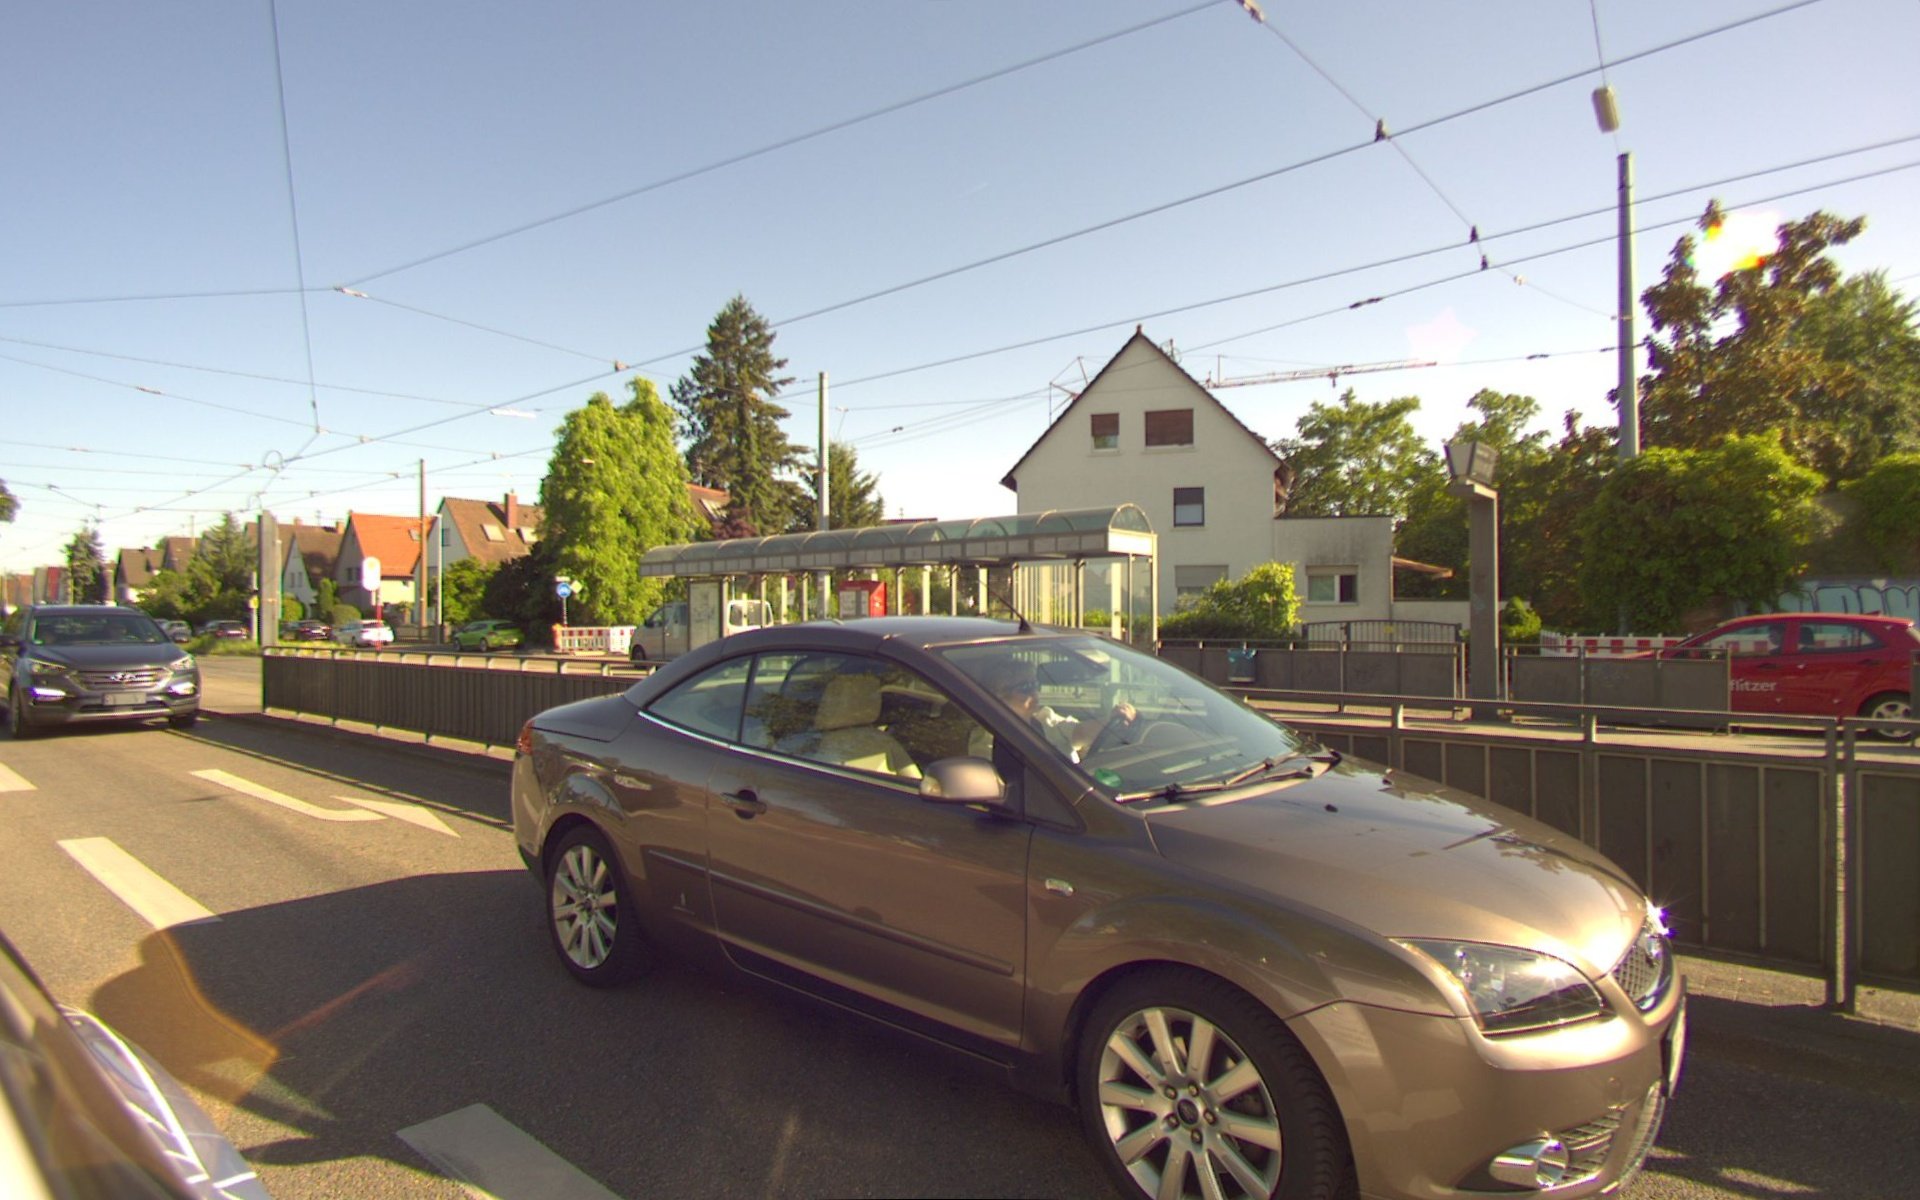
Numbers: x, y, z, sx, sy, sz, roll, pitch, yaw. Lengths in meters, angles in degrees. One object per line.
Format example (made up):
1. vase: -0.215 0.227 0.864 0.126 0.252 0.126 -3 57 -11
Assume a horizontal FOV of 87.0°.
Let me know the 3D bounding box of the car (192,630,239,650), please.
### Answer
1. car: -55.087 2.939 74.882 4.308 1.382 1.972 -2 -1 42

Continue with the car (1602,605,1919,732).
1. car: 10.353 0.793 12.513 4.007 1.413 1.590 -1 -2 35

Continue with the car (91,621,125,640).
1. car: -84.650 3.029 100.546 4.582 1.877 1.973 -2 -1 41

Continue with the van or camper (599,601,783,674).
1. van or camper: -7.591 1.018 28.125 5.984 1.842 1.973 -2 -2 41

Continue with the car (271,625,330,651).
1. car: -40.493 2.286 62.095 4.438 1.477 1.887 -1 0 41

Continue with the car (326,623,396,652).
1. car: -33.129 2.049 55.913 4.610 1.483 1.865 -1 0 40

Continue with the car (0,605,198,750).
1. car: -11.888 0.938 13.597 4.285 1.642 1.757 -2 -2 41

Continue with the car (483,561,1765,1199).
1. car: 0.117 0.728 3.686 4.331 1.461 1.757 -2 -2 41

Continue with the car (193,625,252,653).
1. car: -41.360 2.172 56.722 4.341 1.532 1.717 -2 -2 41

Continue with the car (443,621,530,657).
1. car: -21.698 1.744 46.329 4.063 1.512 1.974 -1 0 38

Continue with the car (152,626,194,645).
1. car: -65.231 2.928 83.872 4.837 1.483 1.864 -2 0 42

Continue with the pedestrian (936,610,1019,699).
1. pedestrian: 0.306 0.921 17.520 1.006 1.464 1.050 -1 -2 40
